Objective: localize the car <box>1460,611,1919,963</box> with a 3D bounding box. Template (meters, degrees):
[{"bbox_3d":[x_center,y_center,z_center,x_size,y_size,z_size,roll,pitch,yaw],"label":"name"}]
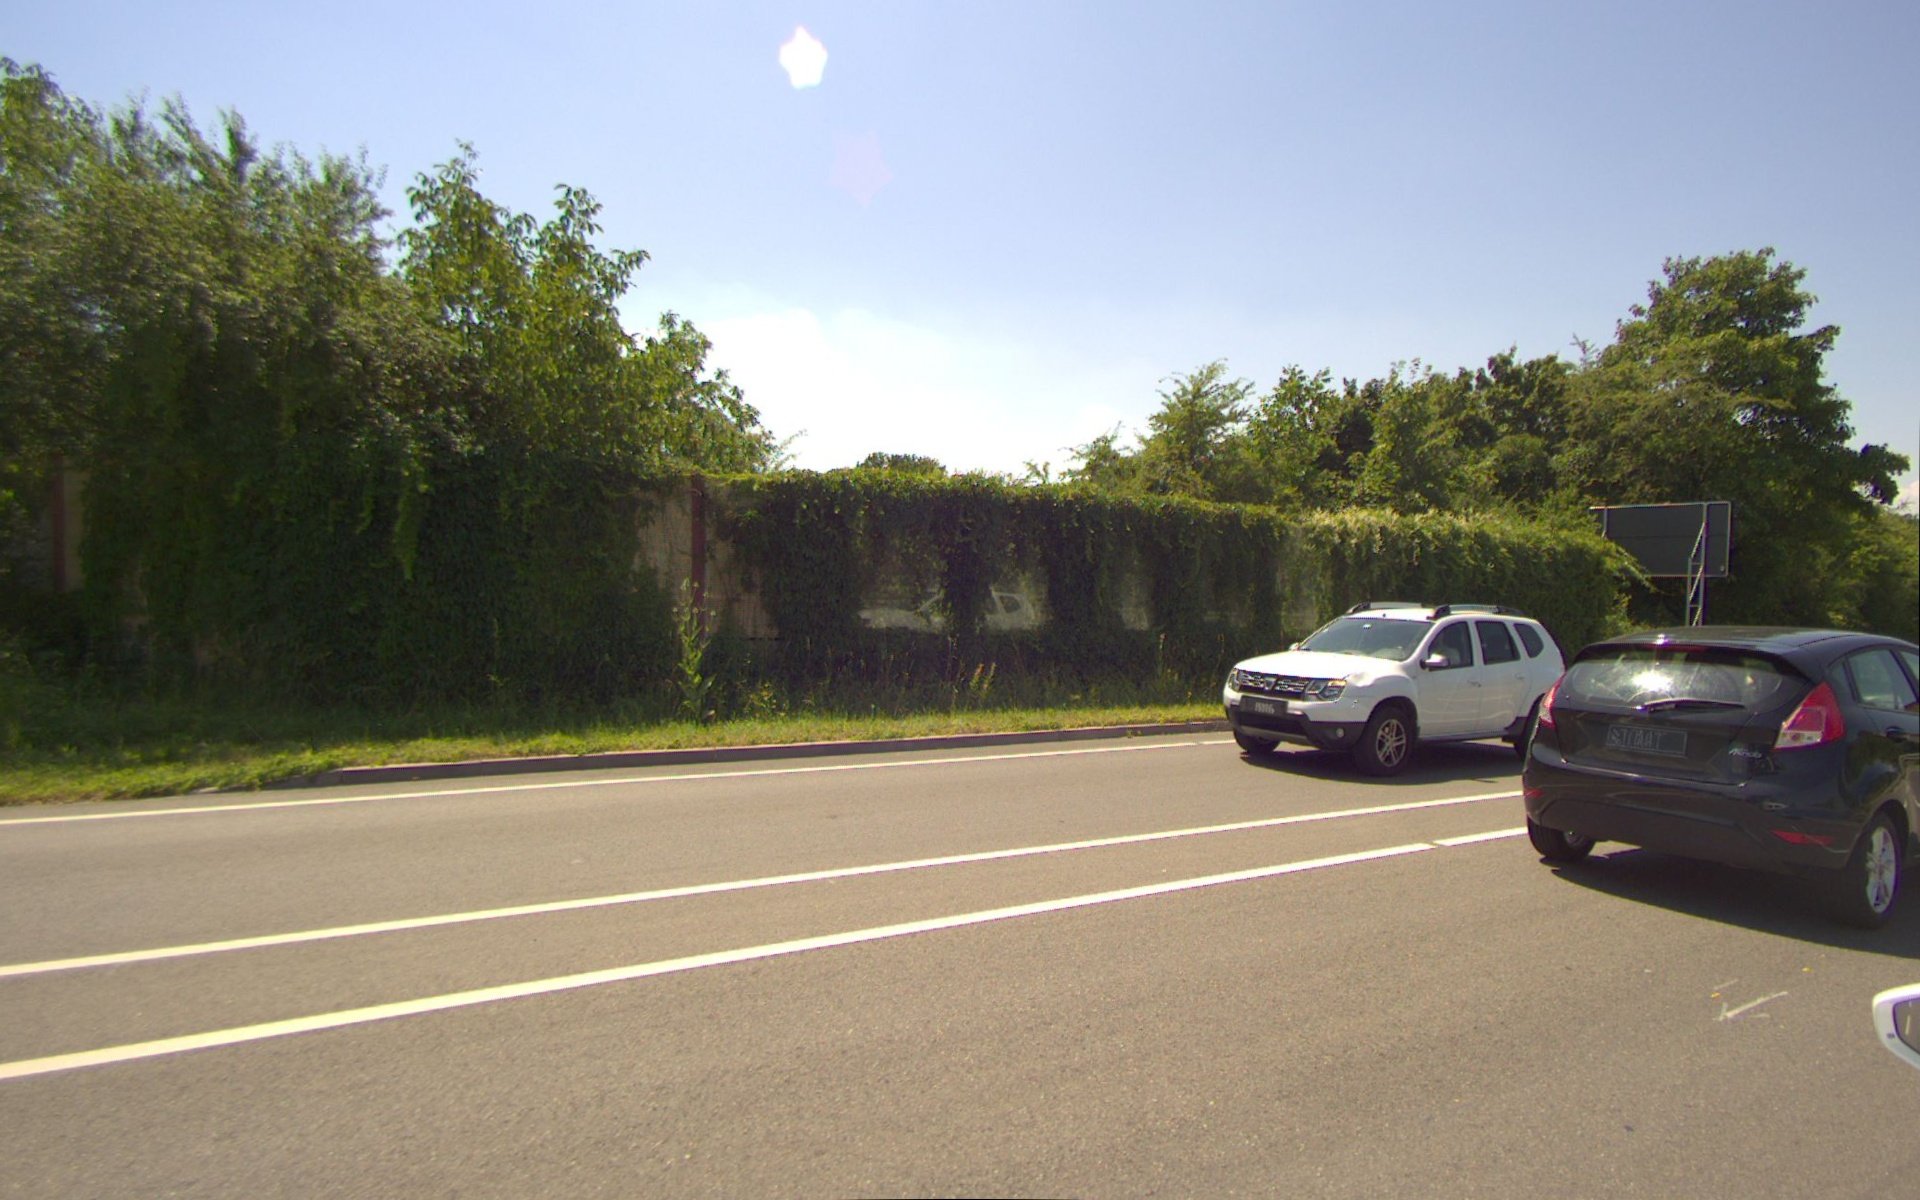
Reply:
[{"bbox_3d":[5.143,0.860,6.238,4.158,1.514,1.645,1,1,-31],"label":"car"}]

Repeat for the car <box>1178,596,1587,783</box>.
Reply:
[{"bbox_3d":[4.581,0.837,10.773,4.149,1.650,1.983,2,-1,-31],"label":"car"}]
